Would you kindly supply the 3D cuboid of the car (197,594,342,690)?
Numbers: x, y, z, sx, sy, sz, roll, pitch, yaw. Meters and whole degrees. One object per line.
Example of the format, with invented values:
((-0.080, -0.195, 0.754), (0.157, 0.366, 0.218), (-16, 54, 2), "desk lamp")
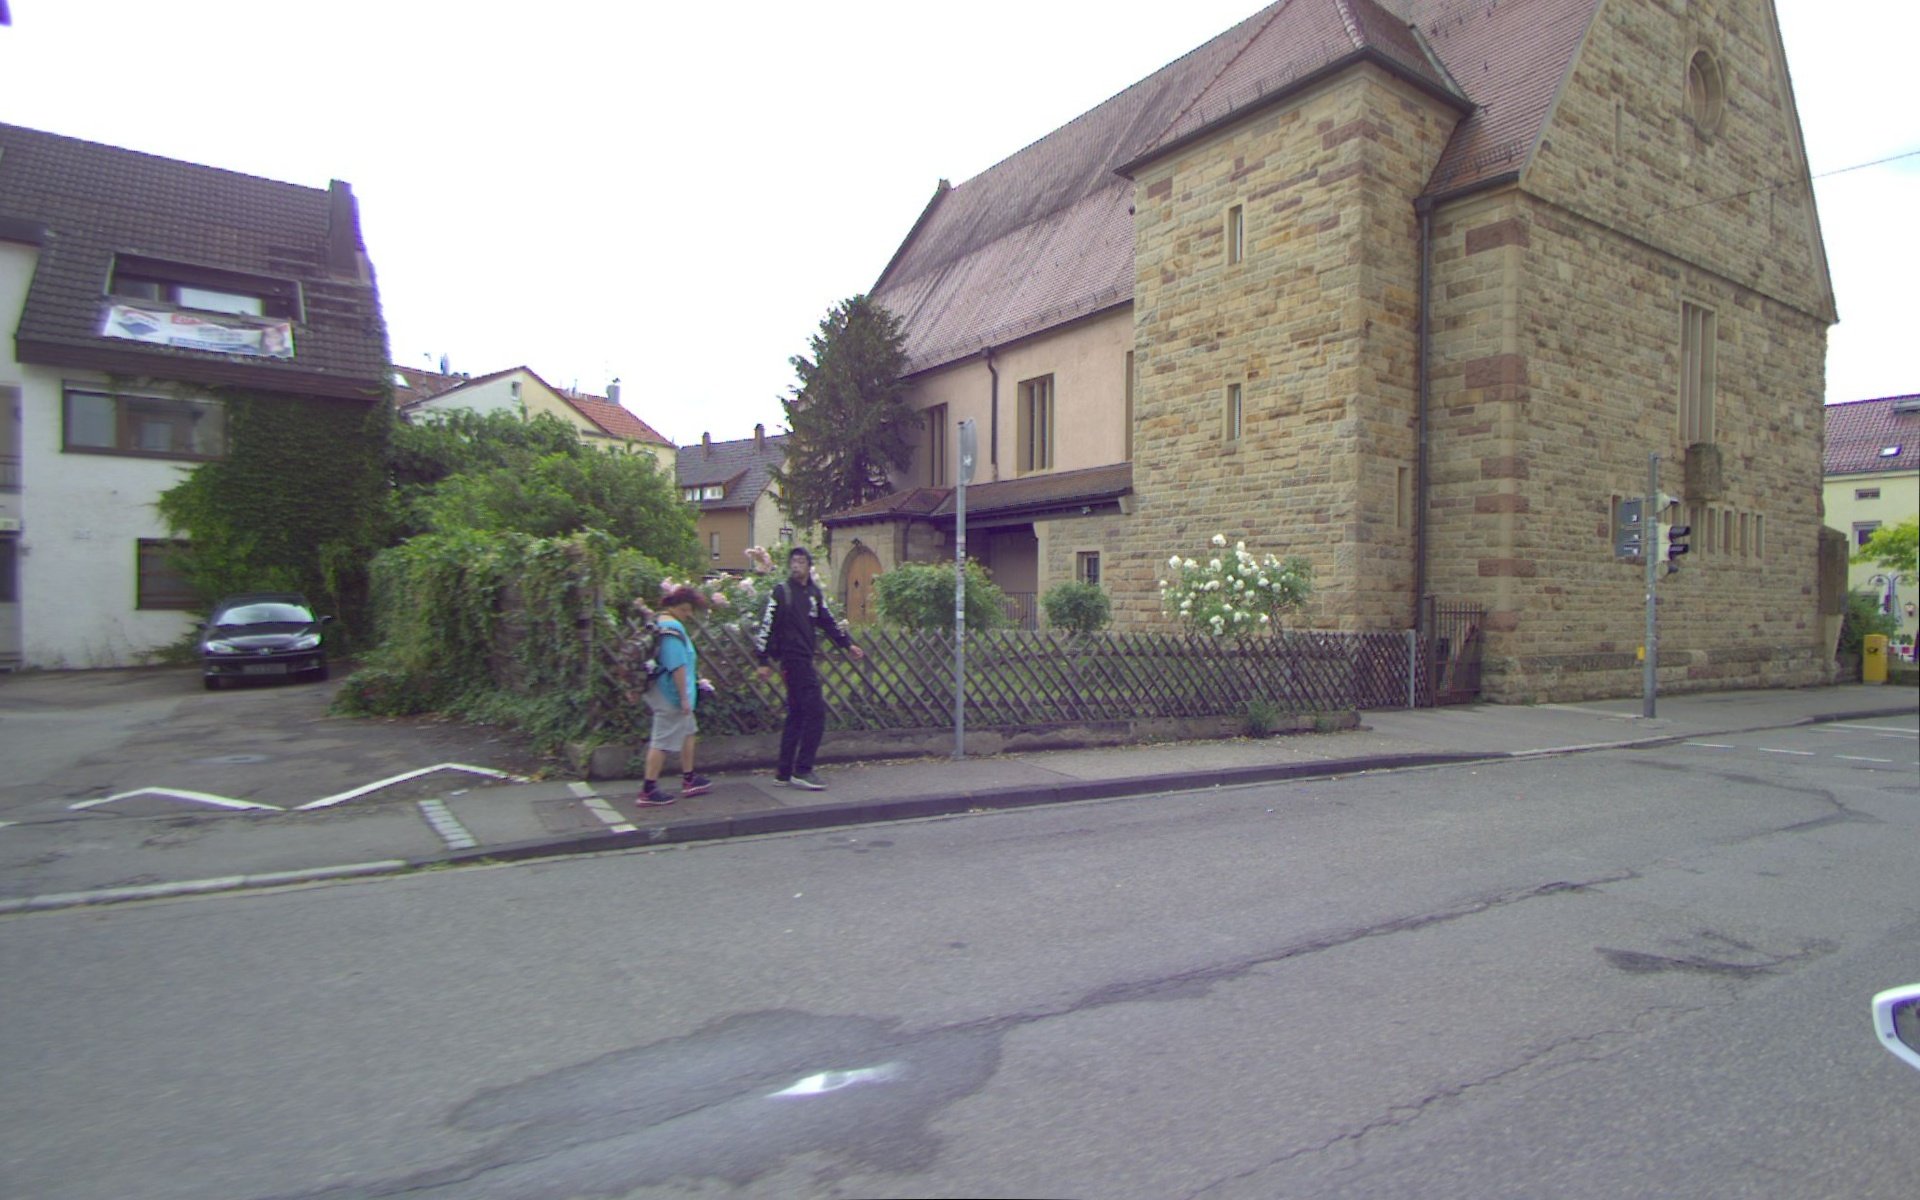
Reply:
((-11.659, 0.619, 17.110), (1.791, 1.372, 3.963), (-2, 1, -33), "car")

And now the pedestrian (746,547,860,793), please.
((-1.267, 0.533, 8.071), (0.688, 1.873, 0.568), (1, 3, -30), "pedestrian")

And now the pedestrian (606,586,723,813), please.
((-2.189, 0.701, 7.423), (0.688, 1.575, 0.568), (1, 1, -30), "pedestrian")
